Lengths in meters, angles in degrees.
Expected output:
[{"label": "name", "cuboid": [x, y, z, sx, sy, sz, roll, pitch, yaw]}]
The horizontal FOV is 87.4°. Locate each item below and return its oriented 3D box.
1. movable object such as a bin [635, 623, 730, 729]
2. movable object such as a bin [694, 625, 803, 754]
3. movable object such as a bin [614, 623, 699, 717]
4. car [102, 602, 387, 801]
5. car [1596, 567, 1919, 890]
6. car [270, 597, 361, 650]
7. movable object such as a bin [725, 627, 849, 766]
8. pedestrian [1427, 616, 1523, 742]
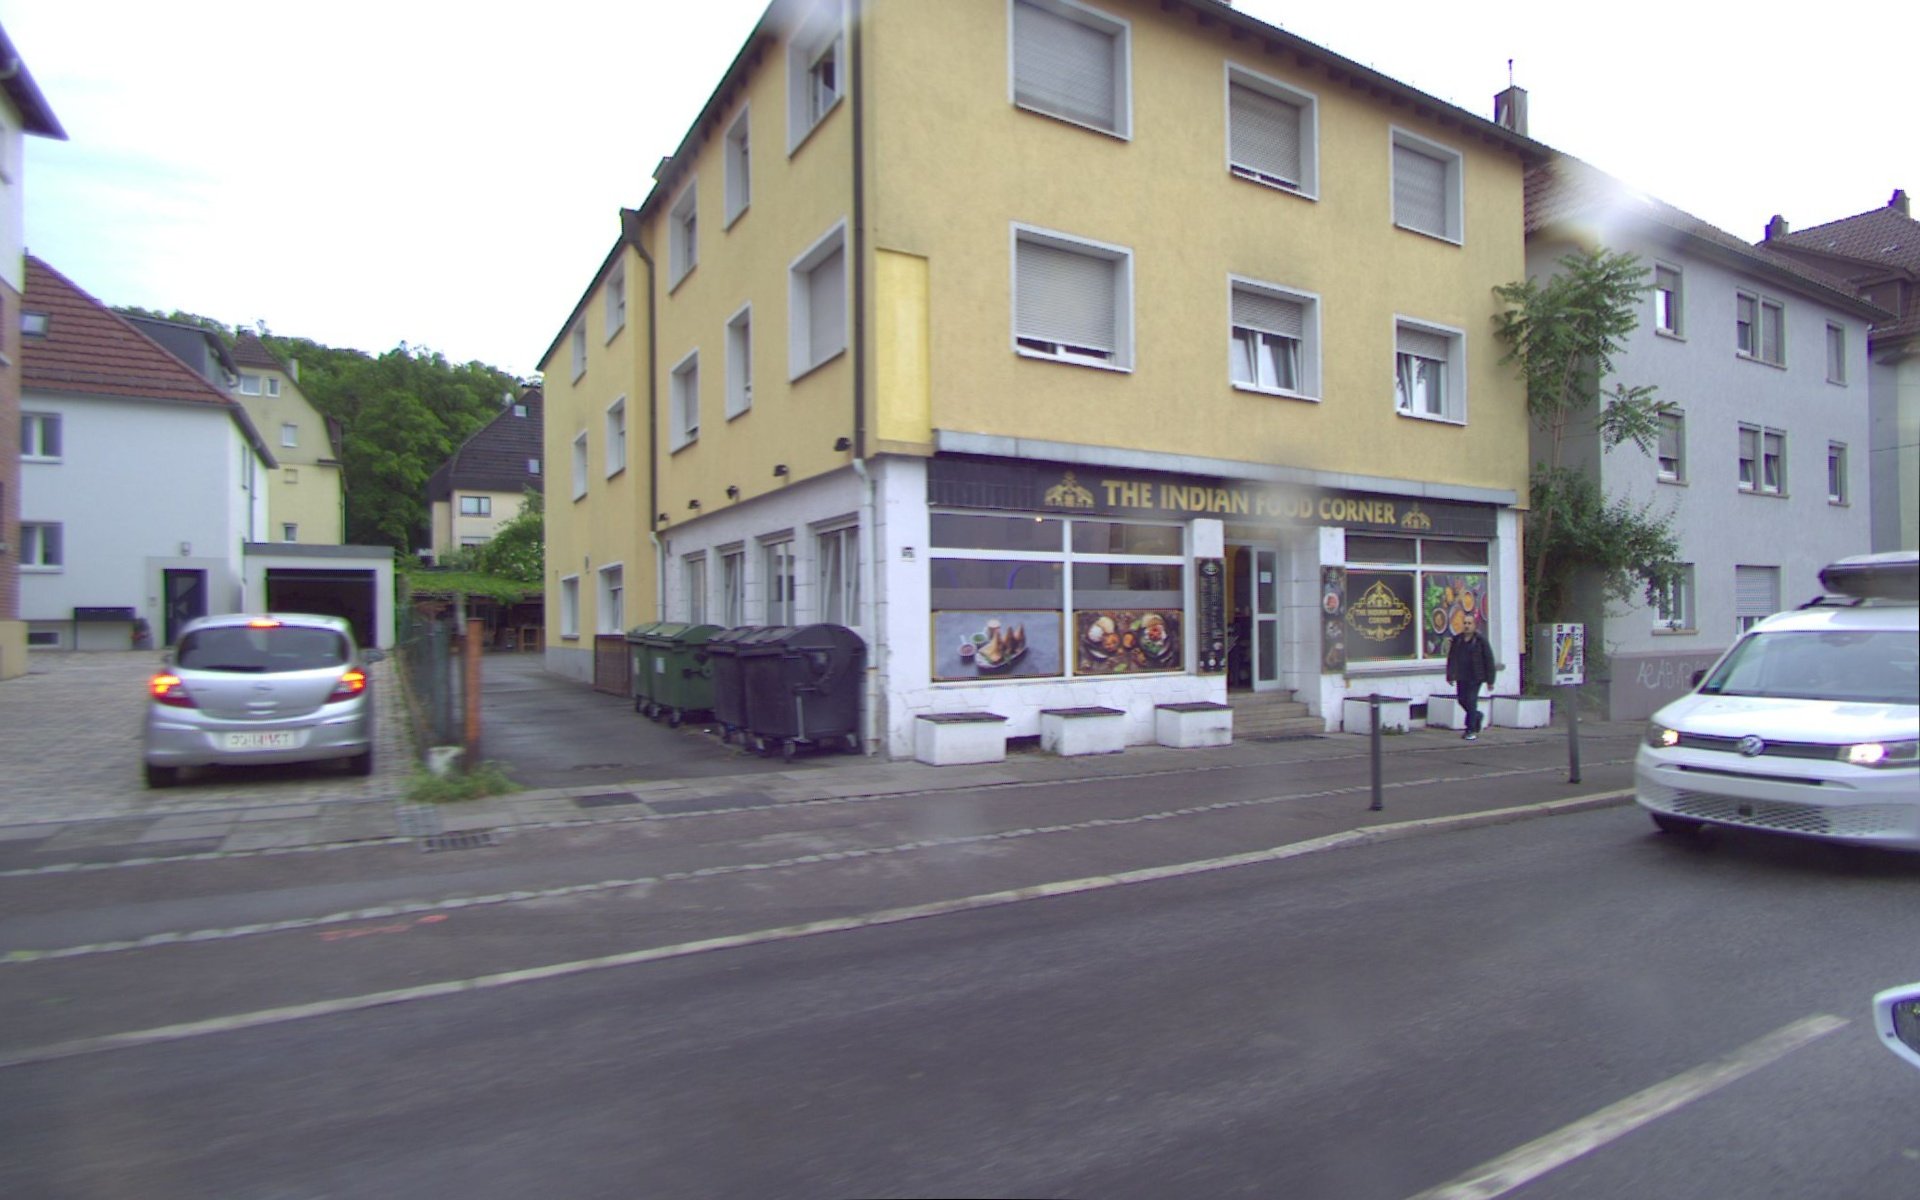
[{"label": "movable object such as a bin", "cuboid": [-4.115, 1.084, 14.835, 1.035, 1.459, 1.359, 1, -1, -30]}, {"label": "movable object such as a bin", "cuboid": [-2.609, 1.049, 12.320, 0.972, 1.458, 1.240, 1, -1, -30]}, {"label": "movable object such as a bin", "cuboid": [-4.898, 1.094, 16.168, 1.048, 1.420, 1.204, 1, -1, -30]}, {"label": "car", "cuboid": [-6.811, 0.814, 9.914, 1.925, 1.506, 3.546, 1, 0, -31]}, {"label": "car", "cuboid": [7.101, 0.855, 7.777, 4.401, 1.894, 1.873, 2, -3, -30]}, {"label": "car", "cuboid": [-17.959, 0.623, 28.159, 1.797, 1.391, 3.971, 1, 0, -28]}, {"label": "movable object such as a bin", "cuboid": [-1.943, 1.024, 11.187, 0.972, 1.420, 1.295, 1, -1, -30]}, {"label": "pedestrian", "cuboid": [7.325, 1.100, 14.290, 0.982, 1.701, 0.811, 2, -1, -32]}]
